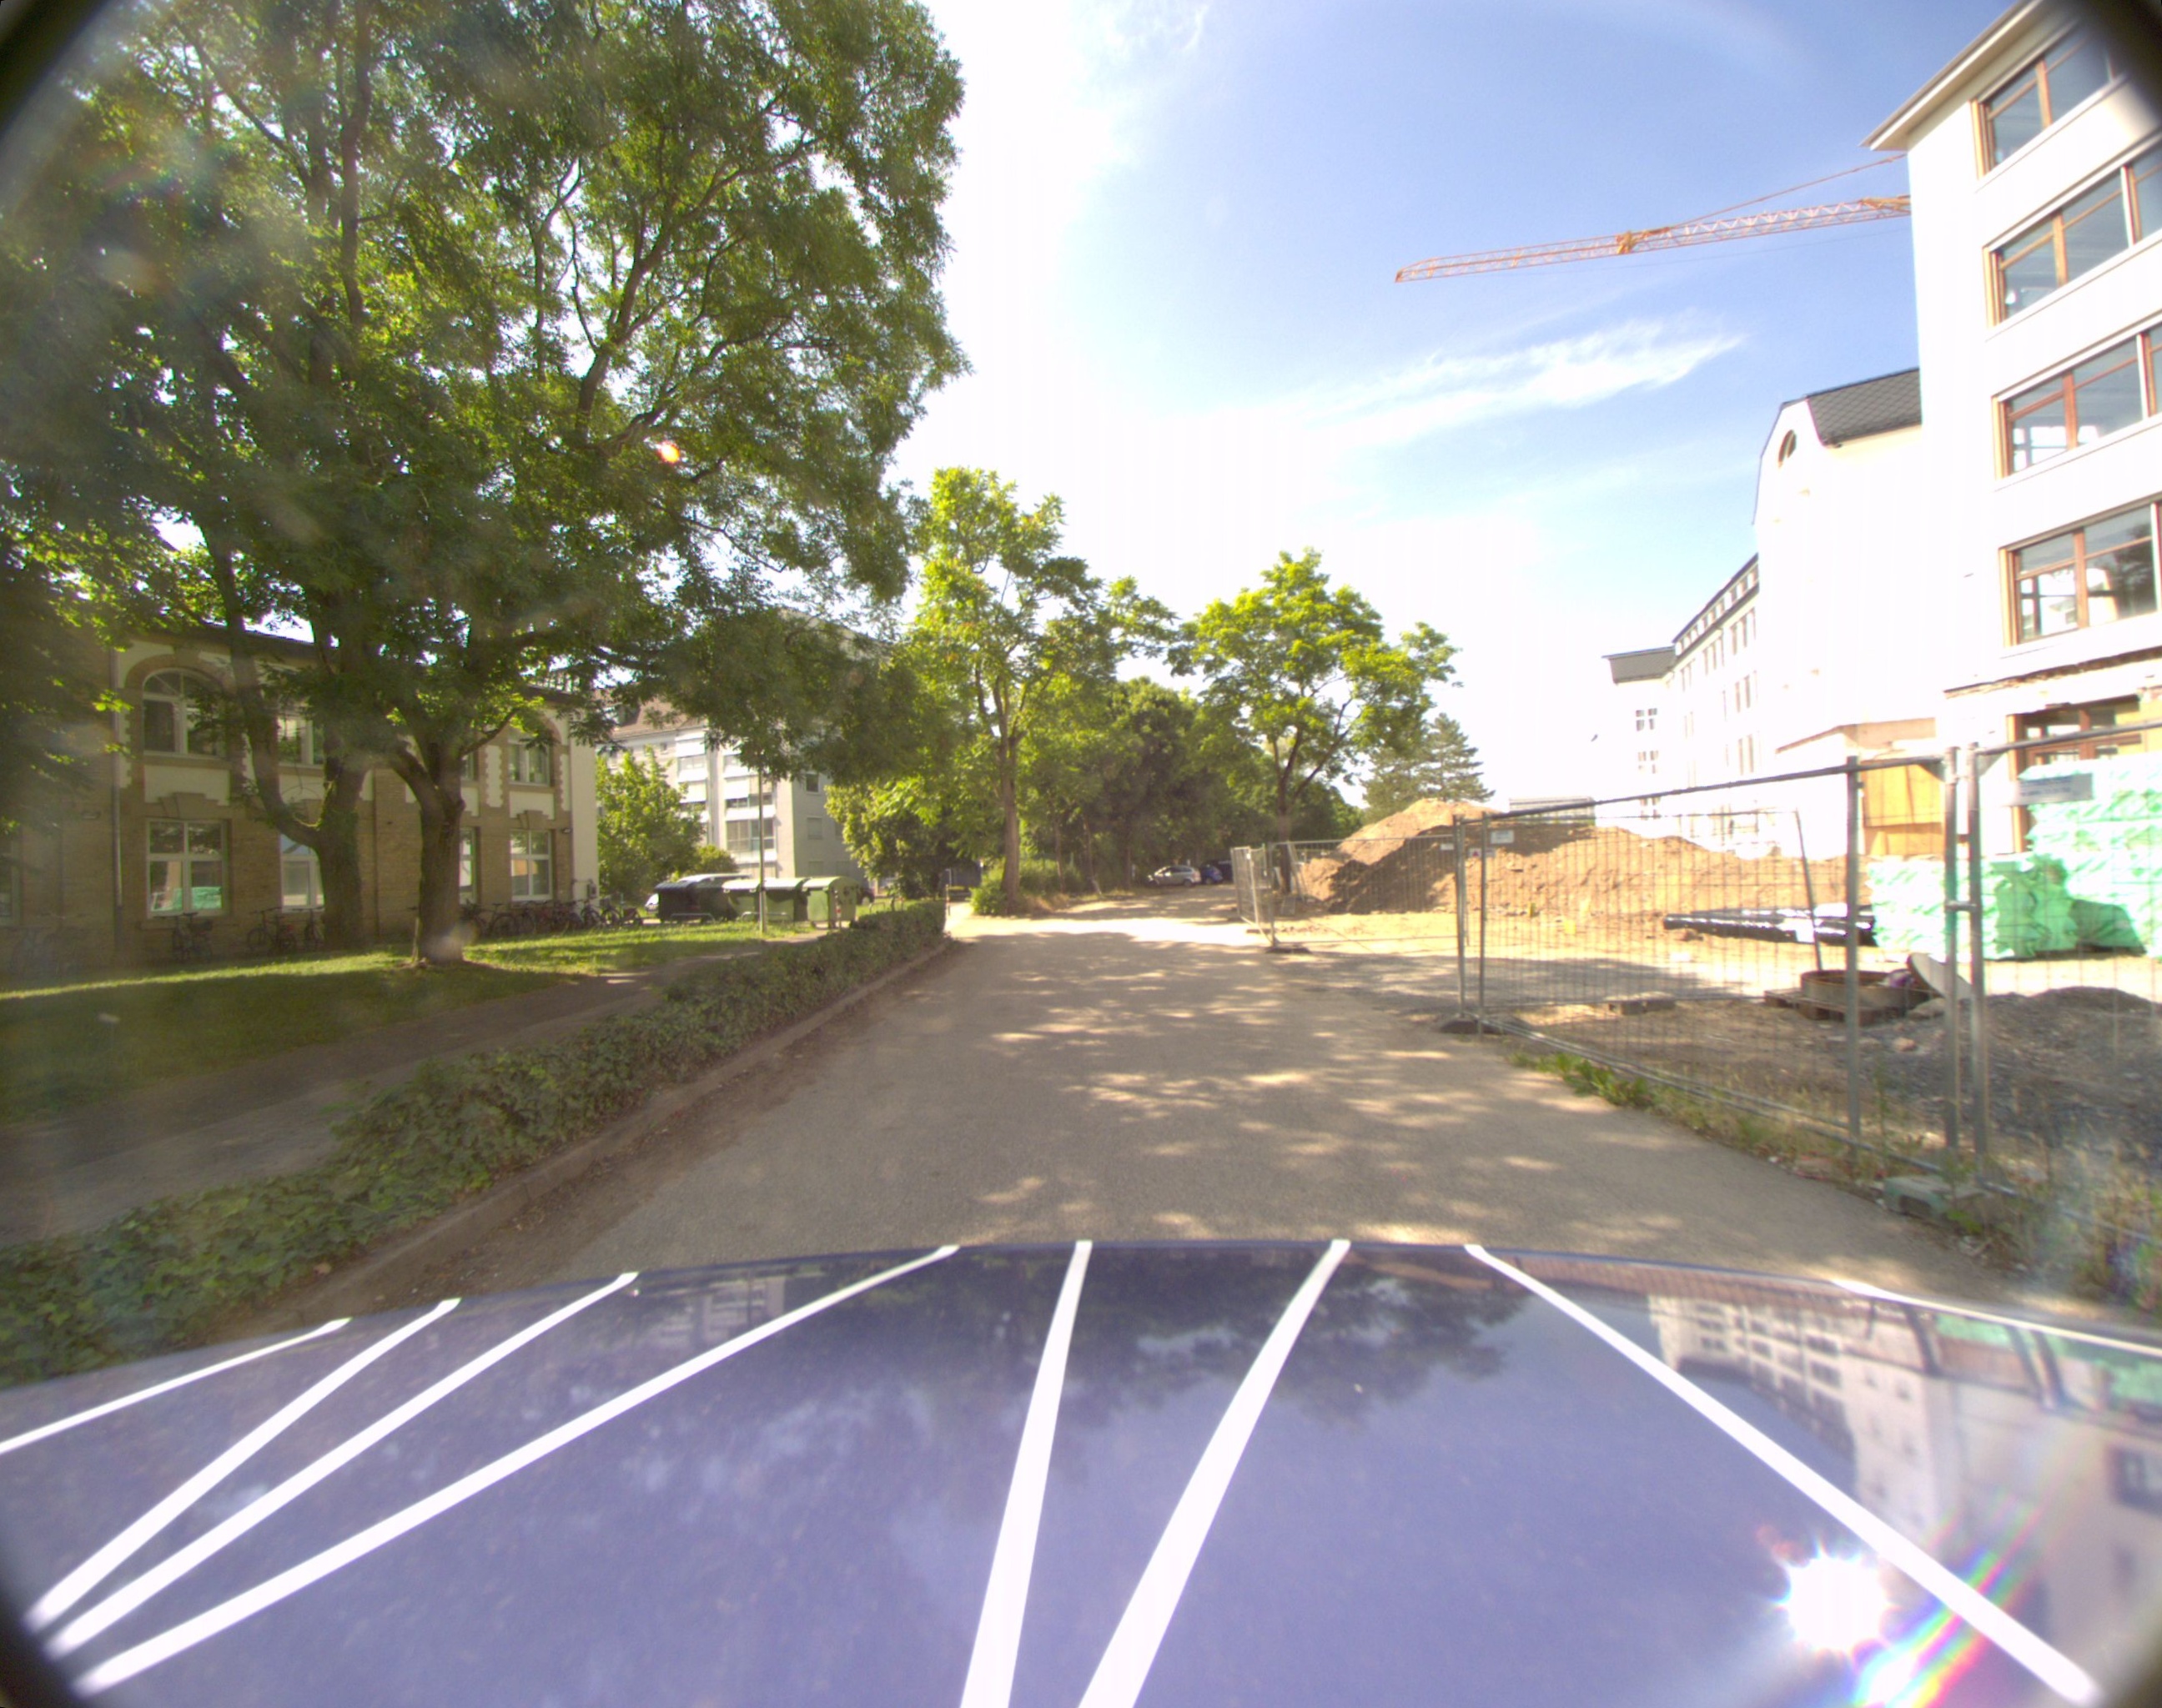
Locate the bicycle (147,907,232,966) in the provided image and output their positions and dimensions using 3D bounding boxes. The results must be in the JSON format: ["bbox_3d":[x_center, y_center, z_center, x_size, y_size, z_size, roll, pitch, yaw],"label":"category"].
[{"bbox_3d":[-19.139,1.753,16.313,2.097,1.154,0.589,-2,0,24],"label":"bicycle"}]

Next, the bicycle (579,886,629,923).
[{"bbox_3d":[-15.261,1.614,24.307,1.800,1.154,0.508,-2,0,29],"label":"bicycle"}]

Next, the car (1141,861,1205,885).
[{"bbox_3d":[6.354,1.318,52.477,3.991,1.499,2.003,-2,-1,19],"label":"car"}]

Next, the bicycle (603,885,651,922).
[{"bbox_3d":[-14.792,1.596,24.747,1.940,1.154,0.558,-2,0,34],"label":"bicycle"}]

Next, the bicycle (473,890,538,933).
[{"bbox_3d":[-16.475,1.644,21.743,1.917,1.154,0.589,-2,0,24],"label":"bicycle"}]

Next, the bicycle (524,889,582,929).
[{"bbox_3d":[-15.976,1.648,22.971,1.909,1.154,0.495,-2,0,24],"label":"bicycle"}]

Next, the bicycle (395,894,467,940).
[{"bbox_3d":[-17.249,1.660,20.154,2.097,1.154,0.589,-2,0,24],"label":"bicycle"}]

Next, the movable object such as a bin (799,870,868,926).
[{"bbox_3d":[-6.925,1.220,21.277,1.388,1.454,1.218,-2,0,36],"label":"movable object such as a bin"}]

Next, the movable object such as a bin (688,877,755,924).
[{"bbox_3d":[-10.971,1.421,23.237,1.349,1.341,1.217,-2,0,21],"label":"movable object such as a bin"}]

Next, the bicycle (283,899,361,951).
[{"bbox_3d":[-18.257,1.691,18.263,2.097,1.154,0.589,-2,0,24],"label":"bicycle"}]

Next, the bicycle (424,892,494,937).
[{"bbox_3d":[-17.024,1.651,20.789,2.097,1.154,0.589,-2,0,24],"label":"bicycle"}]

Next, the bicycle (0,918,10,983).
[{"bbox_3d":[-20.411,1.771,13.854,2.097,1.154,0.589,-2,0,24],"label":"bicycle"}]

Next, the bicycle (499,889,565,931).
[{"bbox_3d":[-16.231,1.650,22.456,2.097,1.154,0.589,-2,0,24],"label":"bicycle"}]

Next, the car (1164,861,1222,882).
[{"bbox_3d":[8.457,1.349,57.446,3.991,1.433,2.003,-2,-1,19],"label":"car"}]

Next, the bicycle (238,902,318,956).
[{"bbox_3d":[-18.543,1.722,17.541,2.097,1.154,0.589,-2,0,24],"label":"bicycle"}]

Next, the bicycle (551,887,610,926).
[{"bbox_3d":[-15.668,1.630,23.779,1.847,1.154,0.614,-2,0,24],"label":"bicycle"}]

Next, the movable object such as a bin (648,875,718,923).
[{"bbox_3d":[-12.445,1.408,23.780,1.433,1.401,1.252,-2,0,20],"label":"movable object such as a bin"}]

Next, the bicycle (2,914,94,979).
[{"bbox_3d":[-19.969,1.767,14.678,2.097,1.154,0.589,-2,0,24],"label":"bicycle"}]

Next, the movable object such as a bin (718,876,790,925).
[{"bbox_3d":[-9.666,1.371,22.485,1.499,1.353,1.217,-2,0,21],"label":"movable object such as a bin"}]

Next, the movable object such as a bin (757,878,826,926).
[{"bbox_3d":[-8.321,1.373,21.859,1.352,1.293,1.217,-2,0,21],"label":"movable object such as a bin"}]
